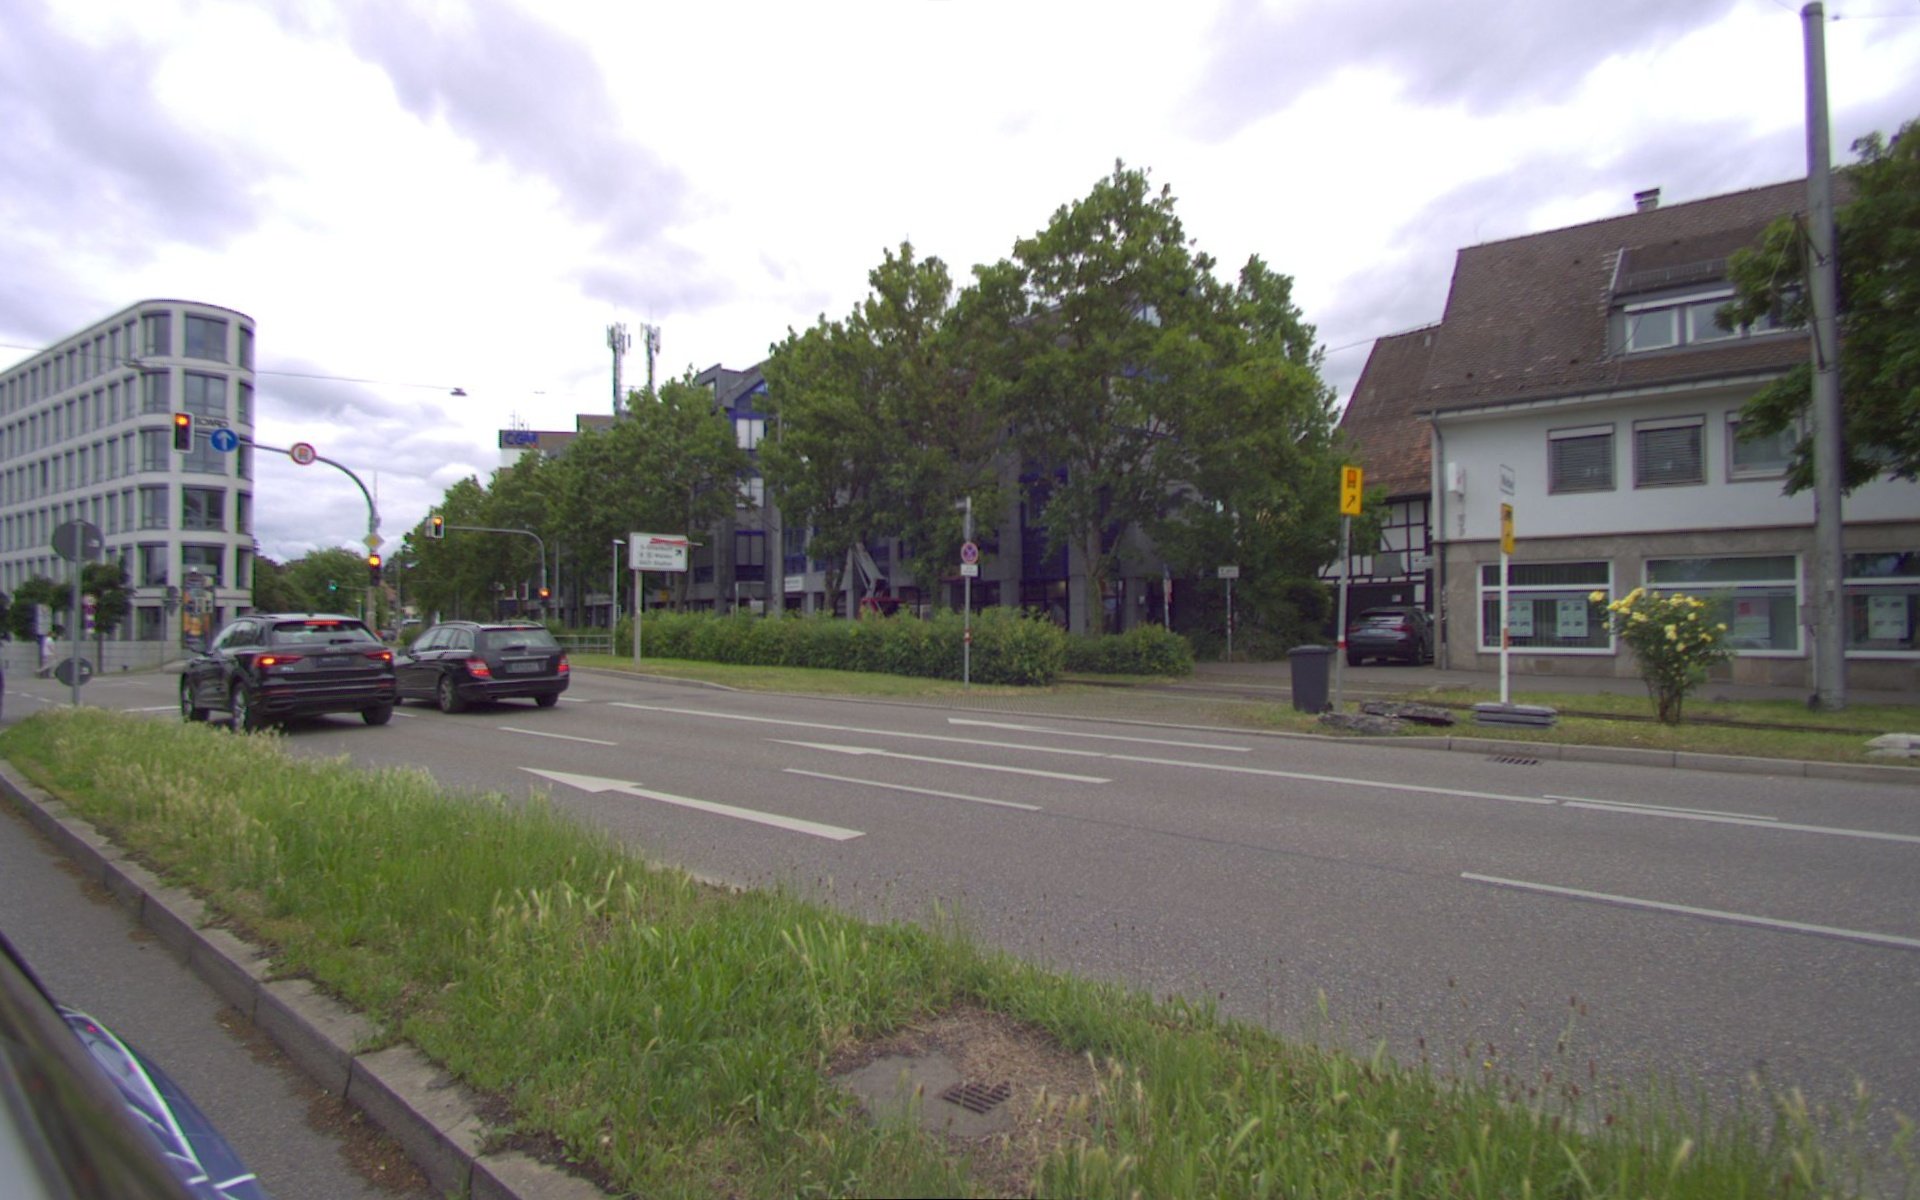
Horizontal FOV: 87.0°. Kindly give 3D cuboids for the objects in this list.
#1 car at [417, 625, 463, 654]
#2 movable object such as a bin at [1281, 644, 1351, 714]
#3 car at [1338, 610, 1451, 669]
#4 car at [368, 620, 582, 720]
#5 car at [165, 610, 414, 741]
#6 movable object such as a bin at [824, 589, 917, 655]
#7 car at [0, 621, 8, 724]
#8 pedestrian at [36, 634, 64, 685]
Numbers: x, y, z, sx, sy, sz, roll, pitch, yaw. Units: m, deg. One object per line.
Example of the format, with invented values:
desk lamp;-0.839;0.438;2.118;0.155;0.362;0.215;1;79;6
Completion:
car;-29.516;2.204;57.347;1.759;1.549;4.407;1;-2;-35
movable object such as a bin;5.465;1.199;15.537;0.838;1.020;0.557;-2;-2;43
car;11.870;1.049;27.529;1.856;1.436;3.951;-3;-2;38
car;-8.315;1.140;17.164;4.395;1.436;1.764;-3;-2;43
car;-9.764;1.025;14.603;4.393;1.576;1.869;-3;-2;41
movable object such as a bin;-3.738;0.893;41.556;1.880;2.551;4.135;1;-2;-38
car;-15.297;1.128;14.265;1.804;1.658;4.339;-1;-1;-31
pedestrian;-35.110;2.286;39.057;0.745;1.932;0.589;2;-4;-39
